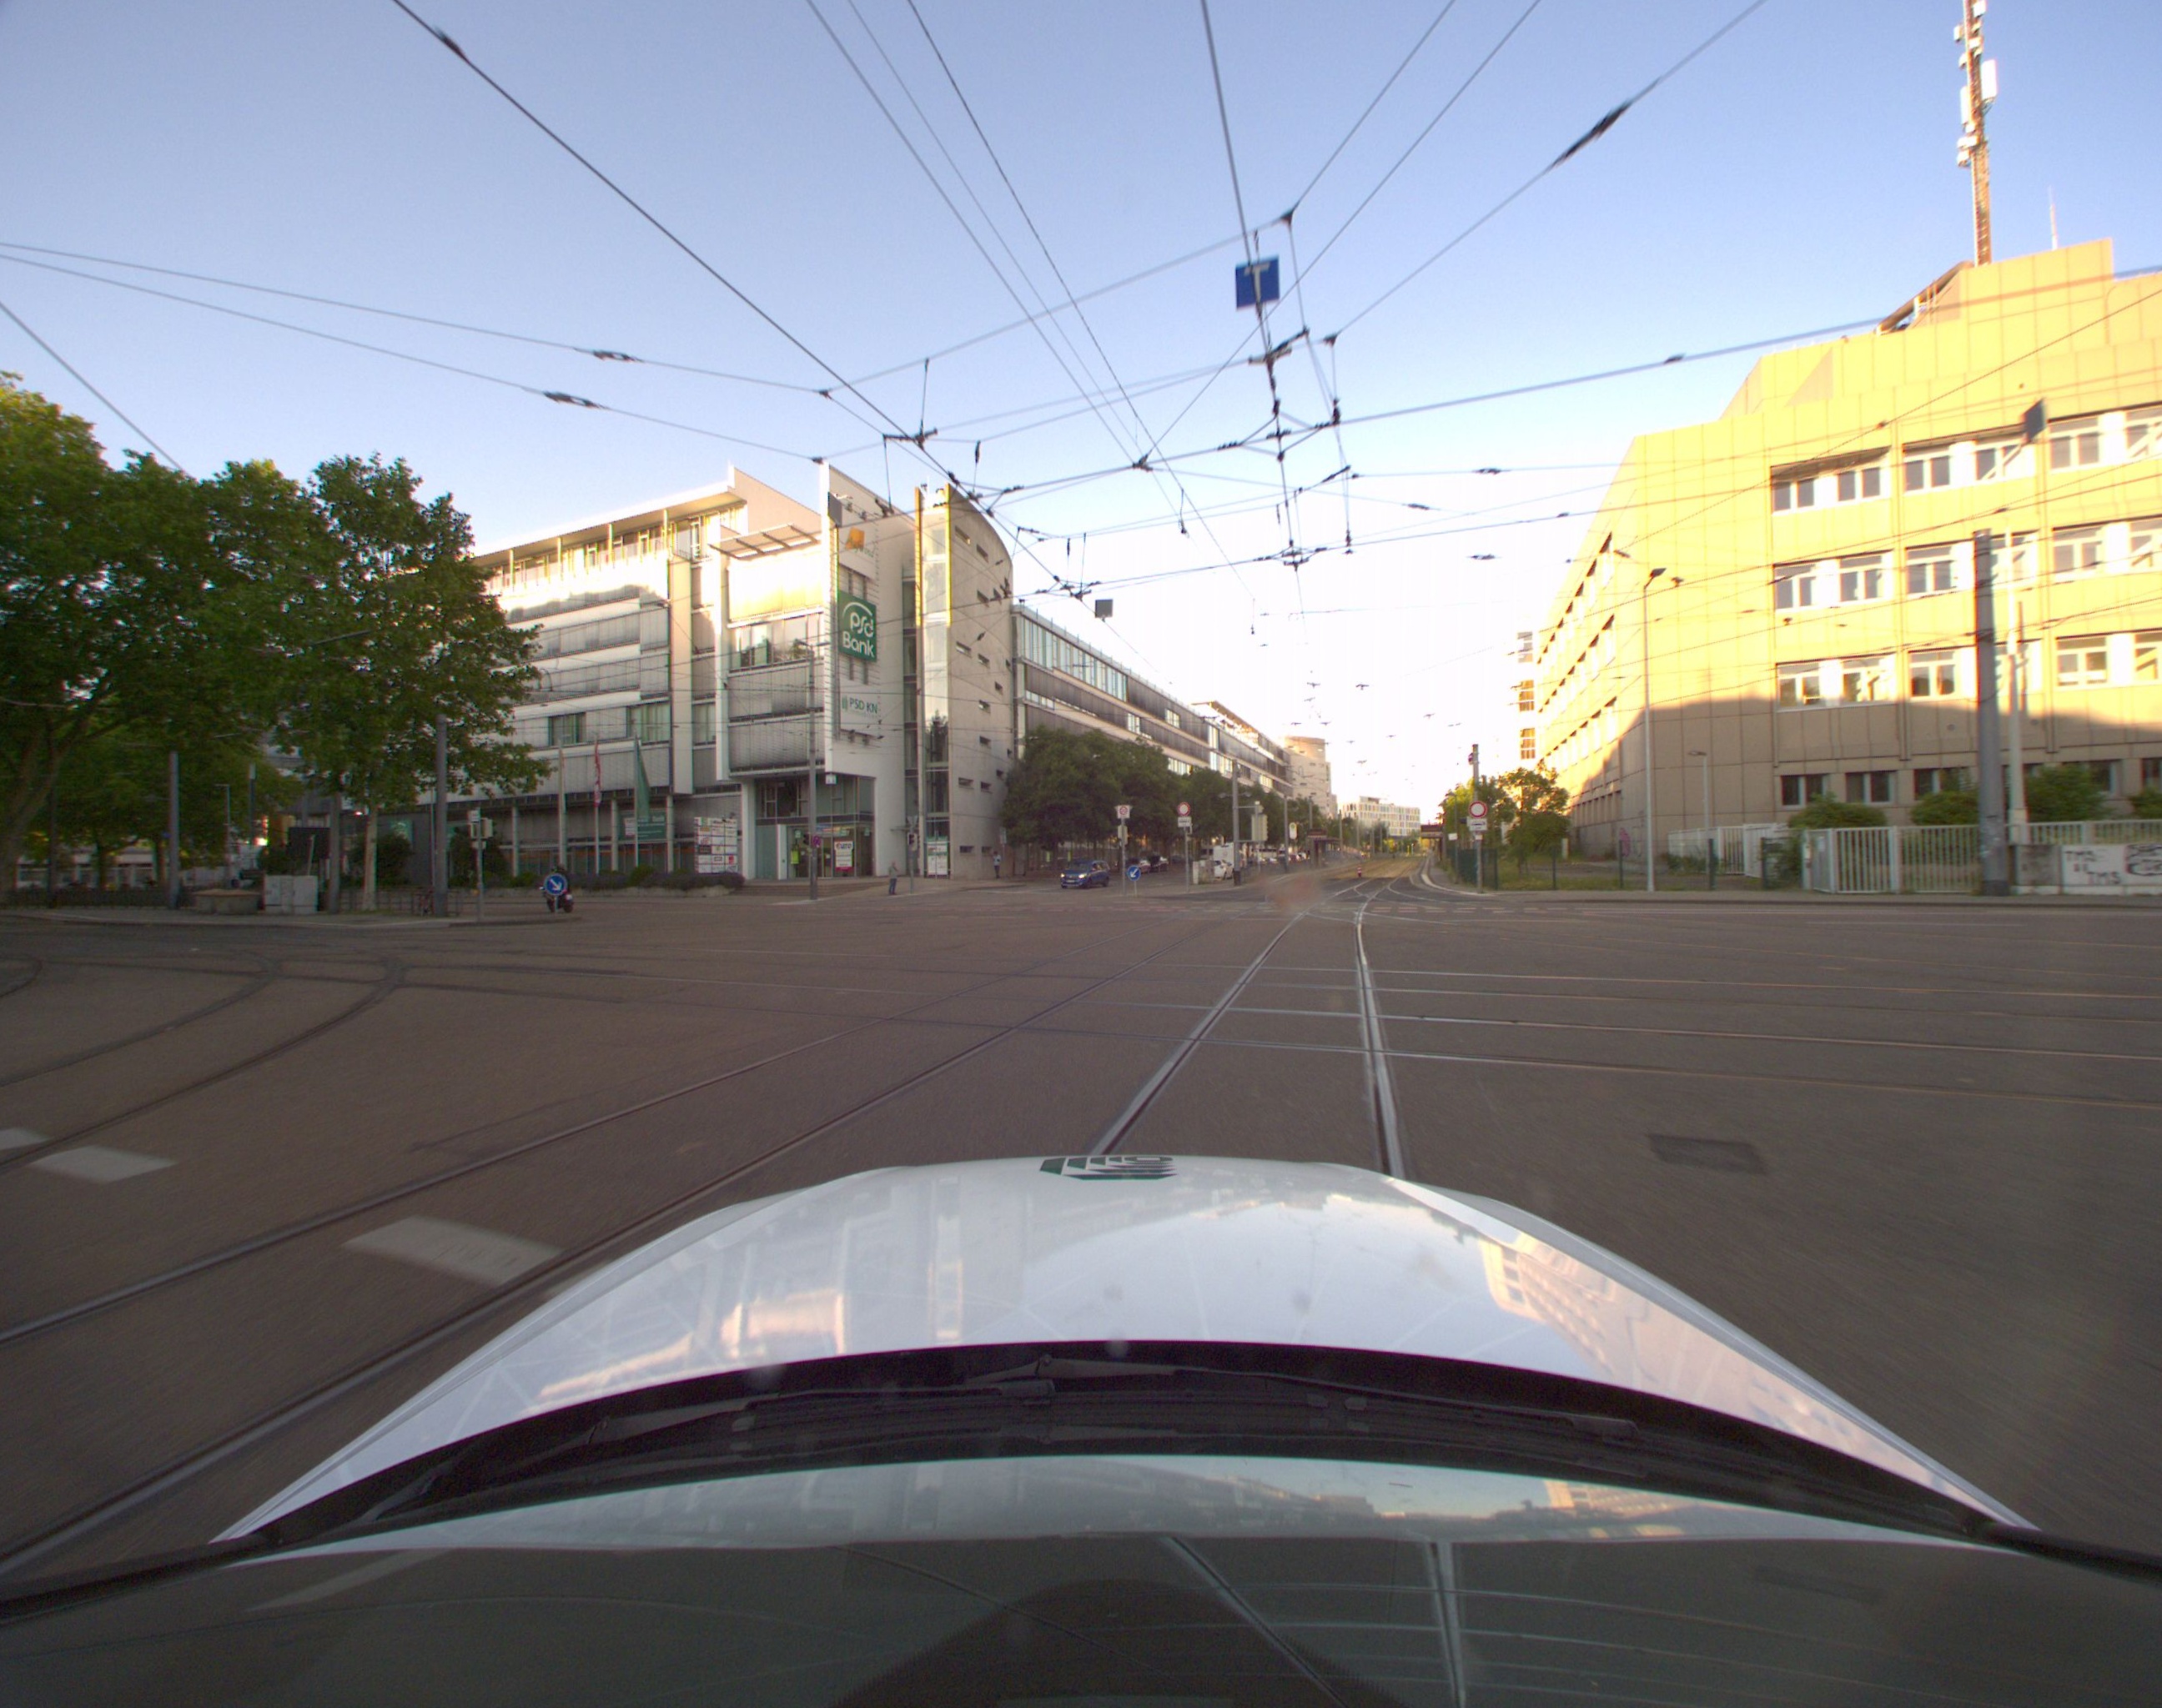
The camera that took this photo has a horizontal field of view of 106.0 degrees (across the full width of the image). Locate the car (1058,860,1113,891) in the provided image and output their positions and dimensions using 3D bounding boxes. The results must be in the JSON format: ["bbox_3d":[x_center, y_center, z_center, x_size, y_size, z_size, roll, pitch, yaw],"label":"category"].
[{"bbox_3d":[0.323,1.259,49.110,1.667,1.700,4.263,-1,0,25],"label":"car"}]

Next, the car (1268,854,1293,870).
[{"bbox_3d":[19.617,0.746,79.887,1.668,1.439,4.148,-1,0,23],"label":"car"}]

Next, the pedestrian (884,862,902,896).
[{"bbox_3d":[-9.551,1.281,41.347,0.541,1.711,0.664,-2,-1,33],"label":"pedestrian"}]

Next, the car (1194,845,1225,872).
[{"bbox_3d":[15.699,0.555,99.286,2.182,3.152,6.177,-1,0,24],"label":"car"}]

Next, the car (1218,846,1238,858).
[{"bbox_3d":[19.453,-0.226,107.620,1.667,1.501,4.263,-1,0,24],"label":"car"}]

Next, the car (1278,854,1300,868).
[{"bbox_3d":[22.430,0.756,87.850,1.668,1.439,4.148,-1,0,23],"label":"car"}]

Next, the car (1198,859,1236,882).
[{"bbox_3d":[9.497,1.121,56.673,1.668,1.439,4.148,-1,0,23],"label":"car"}]

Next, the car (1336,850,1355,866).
[{"bbox_3d":[34.676,0.499,106.680,1.976,2.013,4.021,-1,0,21],"label":"car"}]

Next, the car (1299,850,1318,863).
[{"bbox_3d":[27.498,0.302,98.540,1.668,1.439,4.148,-1,0,23],"label":"car"}]

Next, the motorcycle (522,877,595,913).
[{"bbox_3d":[-18.826,1.486,29.359,2.463,1.240,0.835,-1,0,18],"label":"motorcycle"}]

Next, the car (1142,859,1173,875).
[{"bbox_3d":[7.474,1.233,78.998,1.667,1.501,4.263,-1,0,24],"label":"car"}]

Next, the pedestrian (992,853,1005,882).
[{"bbox_3d":[-5.485,0.898,54.039,0.657,1.922,0.550,-2,-1,12],"label":"pedestrian"}]

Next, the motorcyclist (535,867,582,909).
[{"bbox_3d":[-18.849,1.230,29.368,1.193,1.473,0.835,-1,0,19],"label":"motorcyclist"}]

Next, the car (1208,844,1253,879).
[{"bbox_3d":[11.479,0.544,62.160,2.440,2.482,5.837,-1,0,19],"label":"car"}]

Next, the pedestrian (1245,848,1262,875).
[{"bbox_3d":[13.254,0.592,62.531,1.038,2.030,0.983,-1,0,-5],"label":"pedestrian"}]

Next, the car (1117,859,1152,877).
[{"bbox_3d":[4.848,1.211,73.271,1.667,1.501,4.263,-1,0,24],"label":"car"}]
